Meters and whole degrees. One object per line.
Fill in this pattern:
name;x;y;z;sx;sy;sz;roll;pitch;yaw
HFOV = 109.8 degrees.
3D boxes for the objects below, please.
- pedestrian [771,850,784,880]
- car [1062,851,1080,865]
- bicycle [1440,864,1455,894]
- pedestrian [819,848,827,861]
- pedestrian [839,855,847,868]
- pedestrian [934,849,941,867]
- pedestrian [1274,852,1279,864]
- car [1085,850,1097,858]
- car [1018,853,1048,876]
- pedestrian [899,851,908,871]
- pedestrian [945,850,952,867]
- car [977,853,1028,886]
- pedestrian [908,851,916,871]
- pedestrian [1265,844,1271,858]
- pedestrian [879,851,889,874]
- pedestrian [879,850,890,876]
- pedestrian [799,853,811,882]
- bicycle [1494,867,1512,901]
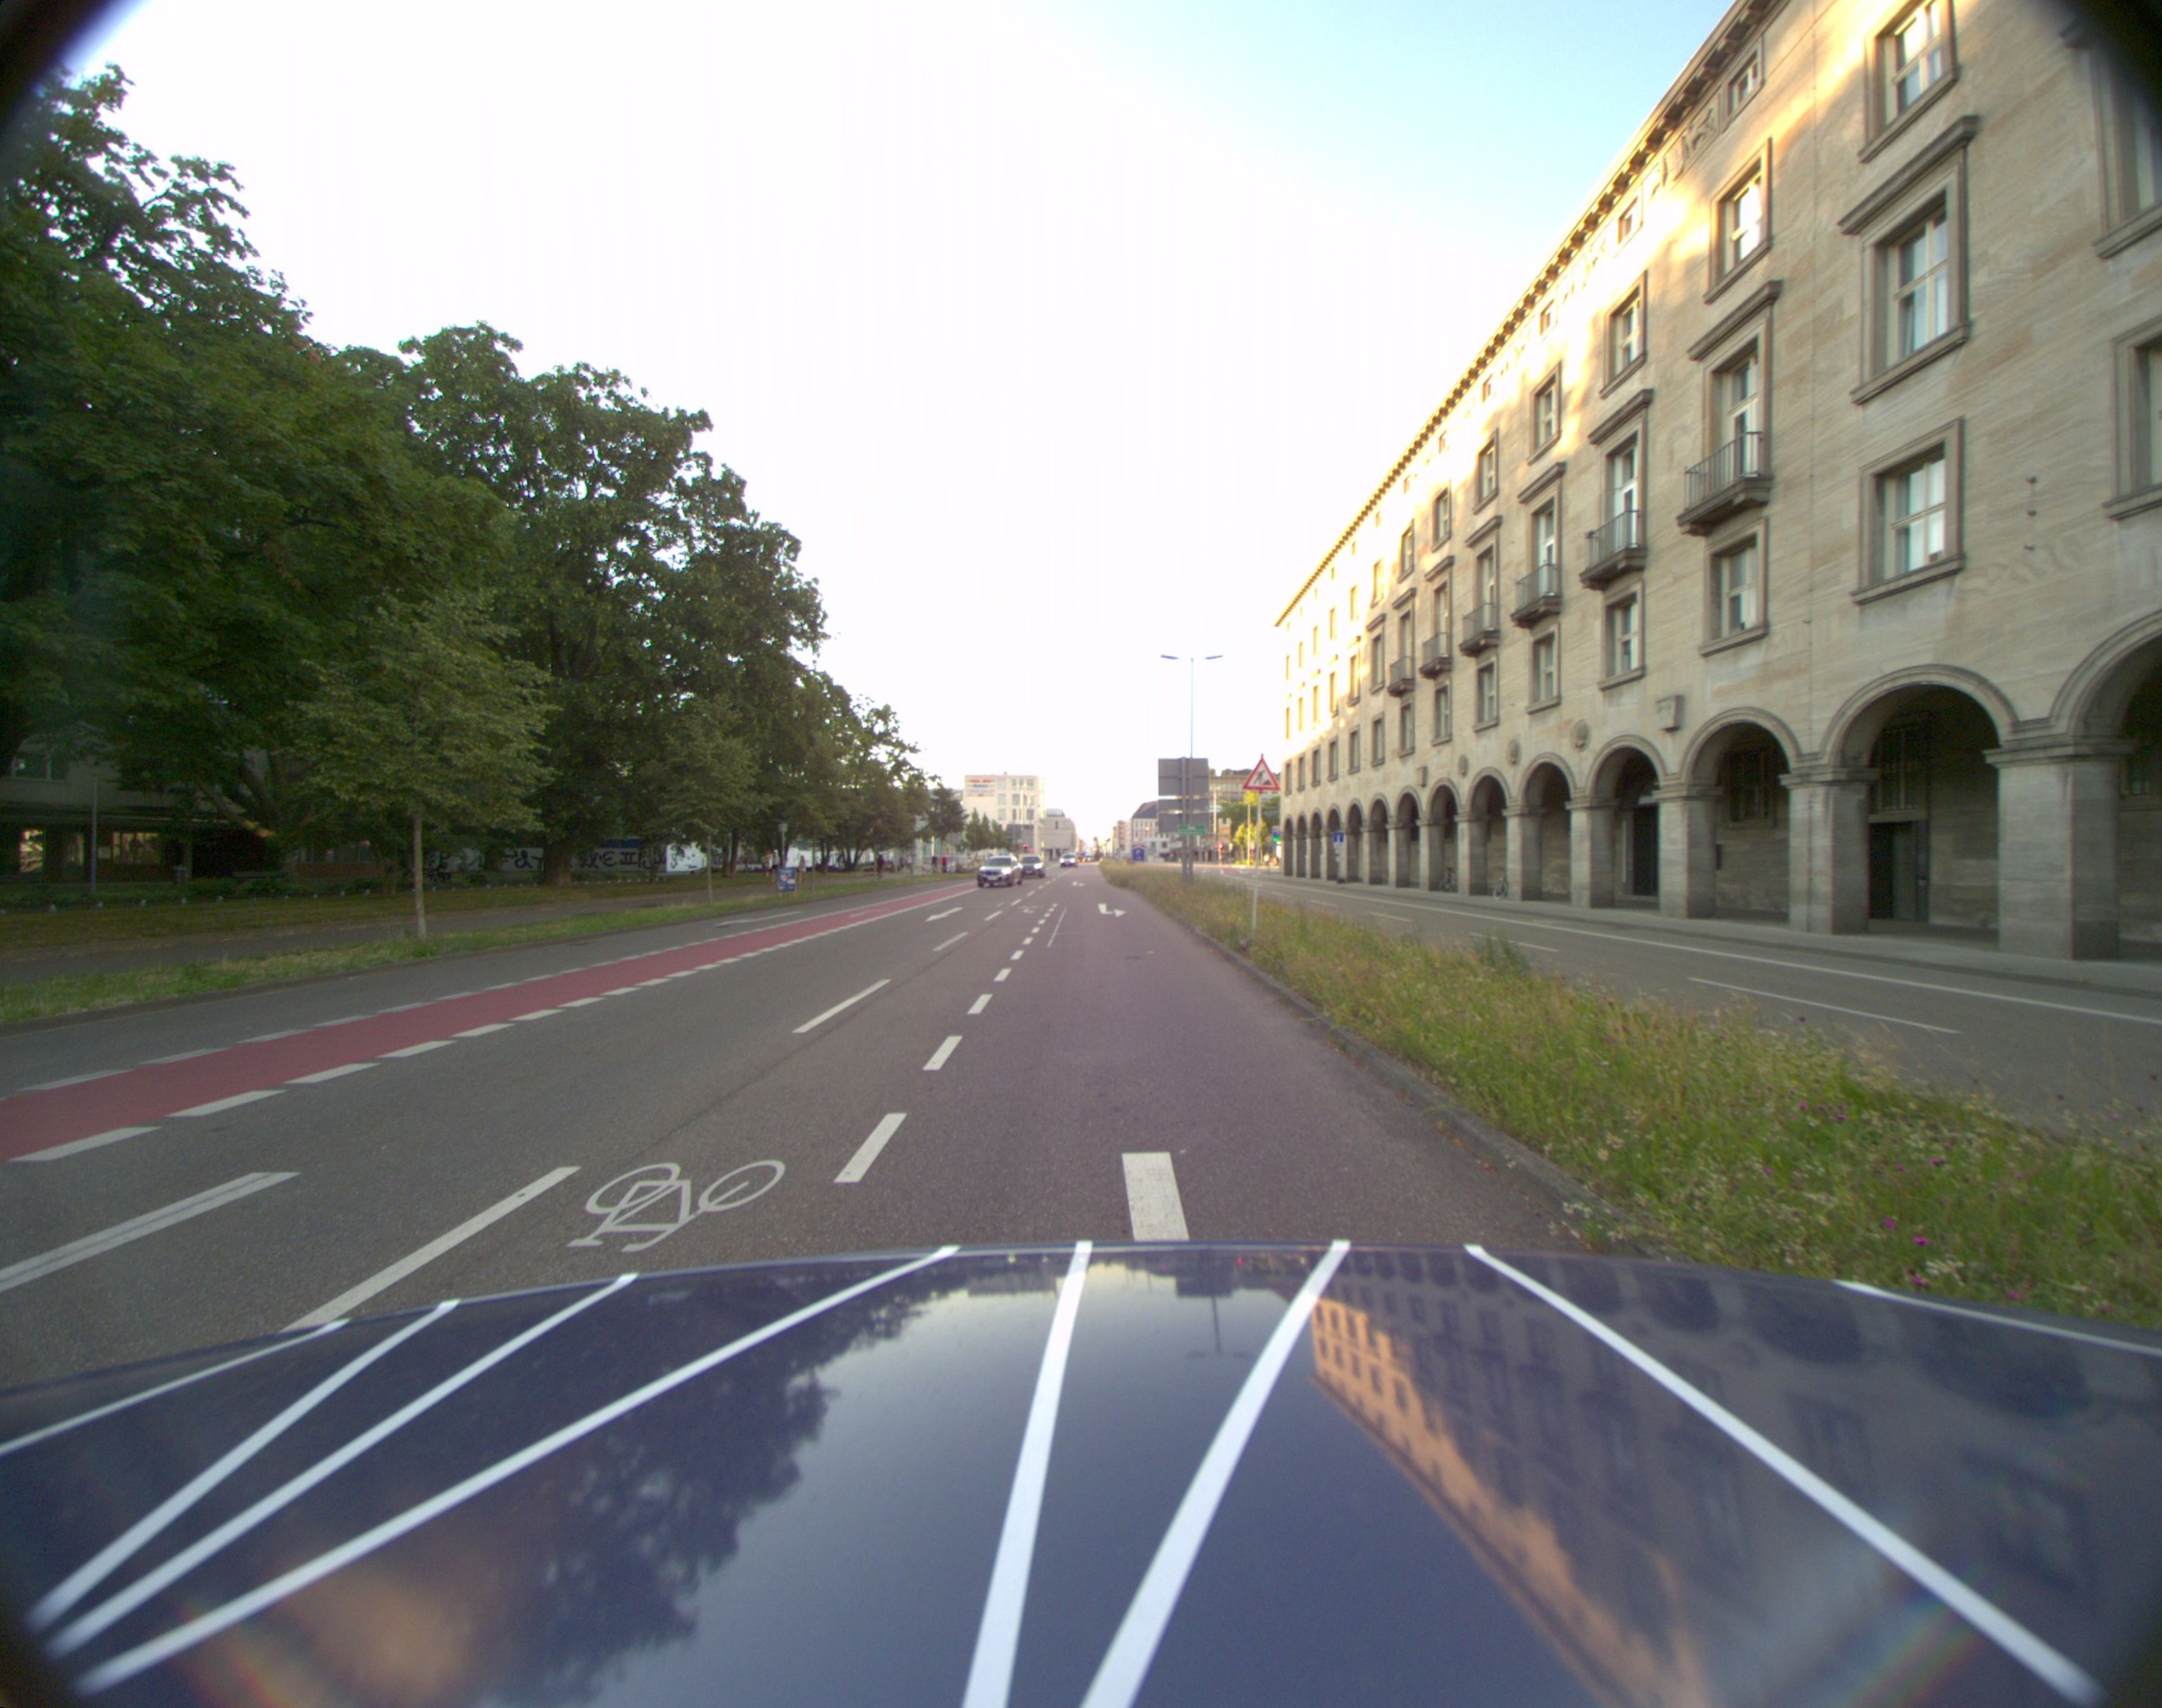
pedestrian;-16.392;0.600;41.077;0.500;1.592;0.522;0;1;1
car;-1.184;0.441;92.560;1.781;1.676;4.217;0;0;5
bicycle;15.475;1.027;32.108;0.513;1.172;2.427;0;0;25
pedestrian;-26.590;0.082;78.343;0.631;1.347;0.681;0;1;1
pedestrian;-24.783;0.774;79.267;0.662;1.347;0.559;0;1;1
pedestrian;-14.538;0.414;77.075;0.638;1.747;0.506;0;1;1
pedestrian;25.145;0.499;97.511;0.526;1.532;0.390;0;1;1
car;2.875;-0.125;221.192;1.996;2.297;5.096;0;0;18
car;-3.441;0.716;54.963;1.782;1.617;4.215;-1;0;1
pedestrian;-15.111;0.583;64.652;0.519;1.720;0.719;0;1;1
pedestrian;-13.458;0.474;76.971;0.638;1.747;0.506;0;1;1
car;-4.157;0.805;40.939;1.825;1.612;4.338;-2;0;6
pedestrian;-14.290;0.582;64.347;0.509;1.720;0.719;0;1;1
pedestrian;23.993;-0.371;97.663;0.638;1.747;0.506;0;1;1
pedestrian;-14.993;0.654;57.847;0.509;1.720;0.719;0;1;1
pedestrian;-13.373;0.620;51.680;0.558;1.729;0.555;0;1;1
pedestrian;-15.100;0.748;41.531;0.500;1.592;0.365;0;1;1
bicycle;15.352;1.055;27.606;0.513;1.115;2.427;0;1;30
